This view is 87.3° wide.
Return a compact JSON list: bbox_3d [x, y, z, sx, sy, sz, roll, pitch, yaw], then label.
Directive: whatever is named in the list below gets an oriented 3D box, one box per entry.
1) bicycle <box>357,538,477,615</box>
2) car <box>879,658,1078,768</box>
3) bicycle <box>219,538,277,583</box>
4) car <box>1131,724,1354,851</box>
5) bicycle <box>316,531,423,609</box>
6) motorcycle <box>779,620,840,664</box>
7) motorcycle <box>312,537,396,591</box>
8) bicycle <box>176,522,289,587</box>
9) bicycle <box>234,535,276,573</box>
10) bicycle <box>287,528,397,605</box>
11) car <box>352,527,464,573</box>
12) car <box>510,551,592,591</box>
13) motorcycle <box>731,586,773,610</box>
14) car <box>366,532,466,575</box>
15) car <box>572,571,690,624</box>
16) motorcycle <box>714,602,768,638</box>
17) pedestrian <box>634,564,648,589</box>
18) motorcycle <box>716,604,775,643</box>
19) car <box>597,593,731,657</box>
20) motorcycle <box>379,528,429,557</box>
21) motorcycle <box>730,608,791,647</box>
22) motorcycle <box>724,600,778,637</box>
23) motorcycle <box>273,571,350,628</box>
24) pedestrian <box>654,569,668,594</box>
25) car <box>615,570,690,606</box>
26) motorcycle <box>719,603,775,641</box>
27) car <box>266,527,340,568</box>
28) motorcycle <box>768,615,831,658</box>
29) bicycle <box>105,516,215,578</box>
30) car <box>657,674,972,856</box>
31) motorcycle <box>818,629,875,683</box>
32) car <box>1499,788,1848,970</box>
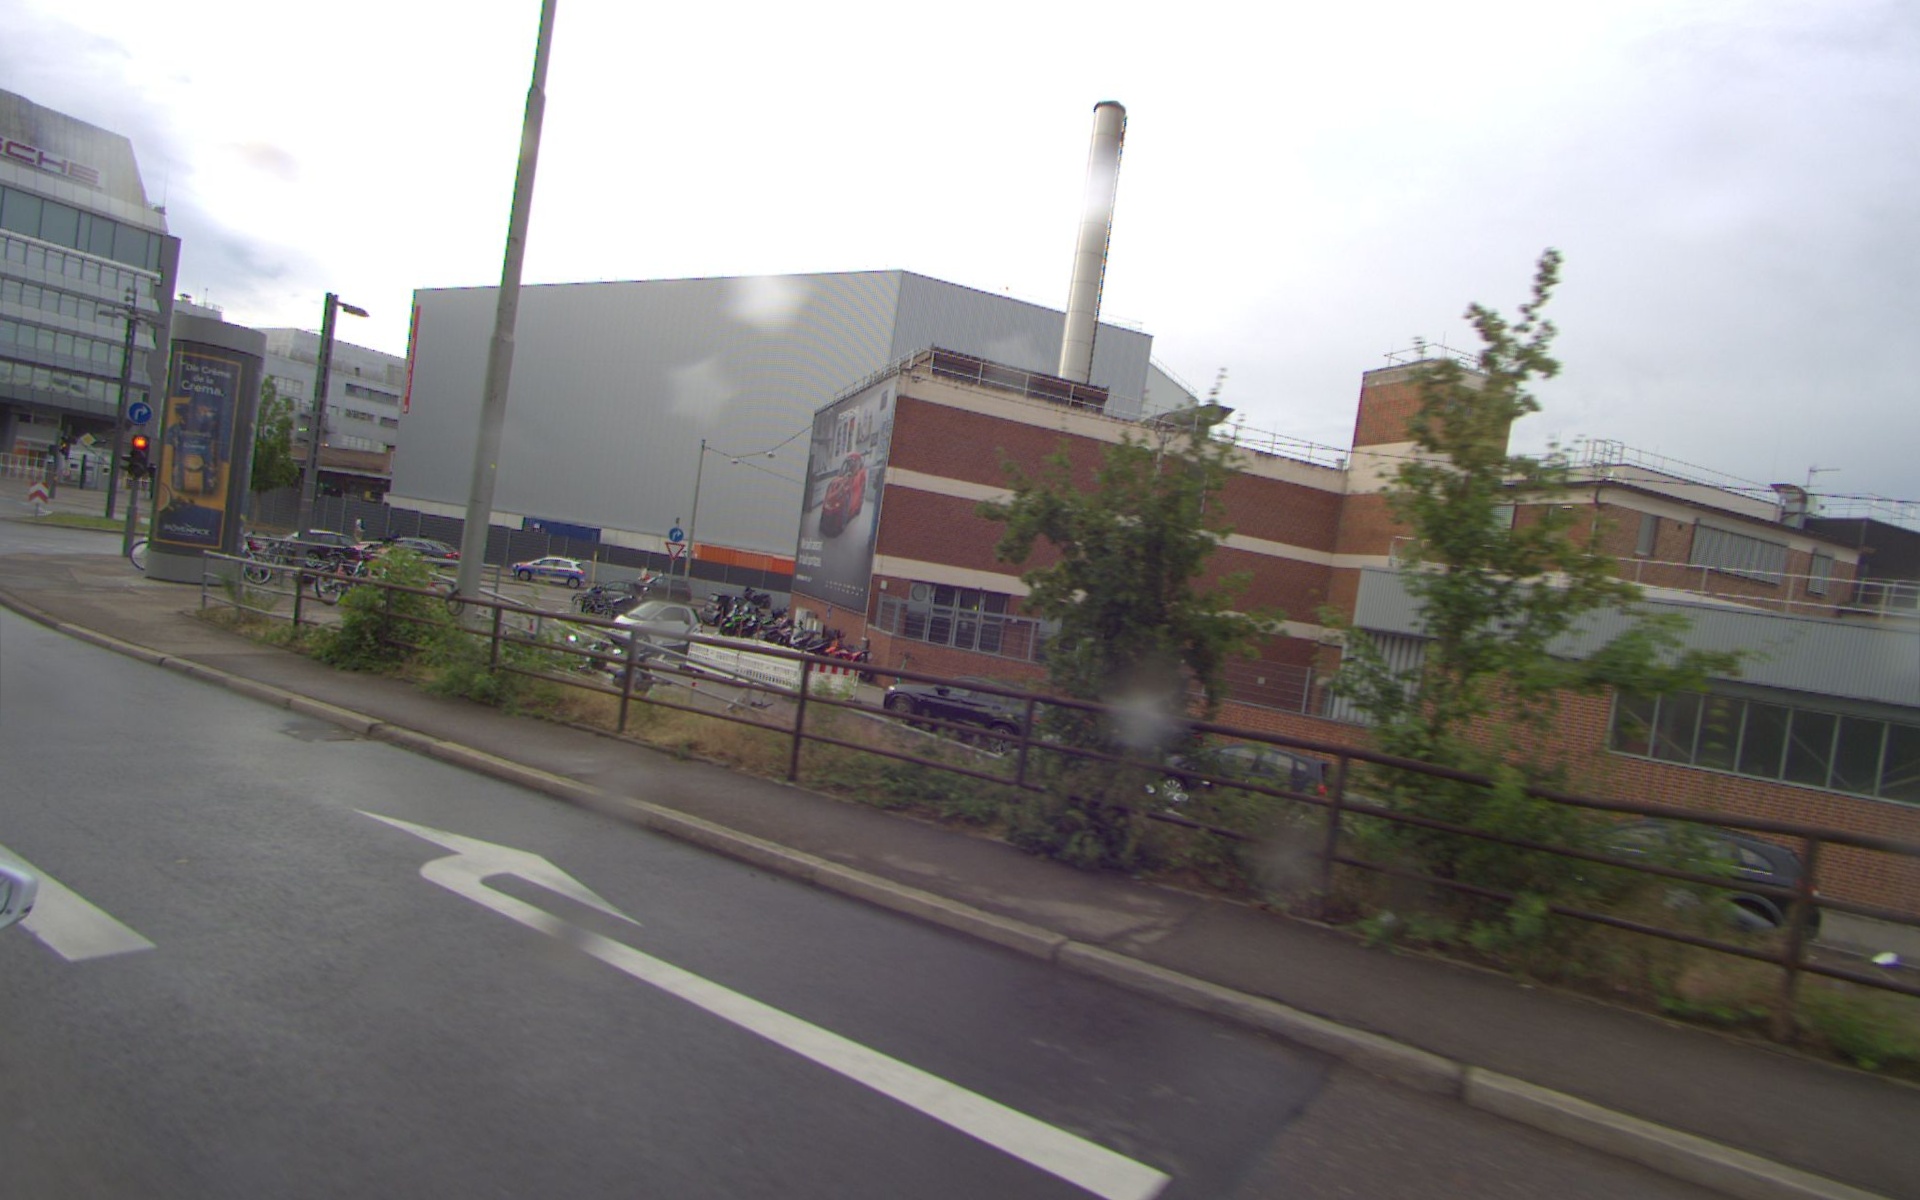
[{"bbox_3d":[-9.523,-0.375,17.737,0.588,1.193,1.933,7,0,16],"label":"bicycle"},{"bbox_3d":[0.400,2.591,23.559,4.191,1.628,1.701,10,0,31],"label":"car"},{"bbox_3d":[-17.484,-0.972,24.681,2.145,0.916,0.691,6,-1,43],"label":"bicycle"},{"bbox_3d":[5.663,3.683,20.310,3.865,1.648,1.700,7,0,31],"label":"car"},{"bbox_3d":[-10.421,-0.497,17.833,0.588,1.239,1.932,6,0,2],"label":"bicycle"},{"bbox_3d":[-4.925,1.391,33.054,1.856,1.327,0.566,5,4,-41],"label":"motorcycle"},{"bbox_3d":[-20.180,-1.180,33.508,2.216,1.470,0.749,8,0,-36],"label":"motorcycle"},{"bbox_3d":[-15.543,-0.963,21.530,0.582,1.176,1.800,7,0,34],"label":"bicycle"},{"bbox_3d":[-22.048,-1.429,31.492,0.380,1.111,1.746,7,0,-13],"label":"bicycle"},{"bbox_3d":[-11.098,-0.565,18.145,0.588,1.239,1.932,6,0,3],"label":"bicycle"},{"bbox_3d":[-27.673,-2.499,50.606,4.518,1.558,1.750,9,0,-17],"label":"car"},{"bbox_3d":[-22.918,-1.617,56.549,3.924,1.620,1.904,9,0,-17],"label":"car"},{"bbox_3d":[-13.655,-0.137,66.197,2.461,1.201,0.995,8,0,-22],"label":"motorcycle"},{"bbox_3d":[-29.032,-2.453,53.811,4.237,1.558,1.750,9,0,-17],"label":"car"},{"bbox_3d":[-13.516,-0.079,41.423,4.087,1.548,1.838,8,-1,8],"label":"car"},{"bbox_3d":[-8.711,0.793,39.964,1.991,1.206,0.607,6,4,-15],"label":"motorcycle"},{"bbox_3d":[-19.909,-1.471,62.826,0.603,1.499,0.423,7,1,-11],"label":"pedestrian"},{"bbox_3d":[-8.018,0.884,37.581,1.992,1.206,0.607,6,4,-17],"label":"motorcycle"},{"bbox_3d":[-9.225,0.811,31.485,1.670,1.500,3.543,11,2,43],"label":"car"},{"bbox_3d":[-32.510,-3.363,58.834,2.326,1.361,0.650,8,1,-19],"label":"motorcycle"},{"bbox_3d":[-7.292,1.012,36.822,1.997,1.206,0.605,6,4,-27],"label":"motorcycle"},{"bbox_3d":[-8.526,0.752,41.068,1.984,1.206,0.609,7,4,8],"label":"motorcycle"},{"bbox_3d":[-14.335,-0.015,22.221,1.722,1.002,0.697,8,1,33],"label":"motorcycle"},{"bbox_3d":[-18.624,-1.142,62.651,0.640,1.499,0.438,7,1,-13],"label":"pedestrian"},{"bbox_3d":[-17.785,-0.710,58.343,3.942,1.409,1.750,9,0,-17],"label":"car"},{"bbox_3d":[-8.224,0.854,38.863,1.992,1.206,0.607,6,4,-17],"label":"motorcycle"},{"bbox_3d":[-25.885,-2.082,39.610,3.519,1.307,1.607,6,-1,44],"label":"car"},{"bbox_3d":[-5.480,1.263,34.438,2.009,1.327,0.679,4,4,-45],"label":"motorcycle"},{"bbox_3d":[-17.989,-1.175,22.660,0.668,1.154,1.769,6,-1,38],"label":"bicycle"},{"bbox_3d":[-1.979,2.059,13.396,3.792,1.574,1.701,7,0,31],"label":"car"},{"bbox_3d":[-3.532,1.713,31.158,0.919,1.327,1.968,5,4,-29],"label":"motorcycle"},{"bbox_3d":[11.509,4.450,16.624,4.355,1.651,1.635,7,0,31],"label":"car"}]
